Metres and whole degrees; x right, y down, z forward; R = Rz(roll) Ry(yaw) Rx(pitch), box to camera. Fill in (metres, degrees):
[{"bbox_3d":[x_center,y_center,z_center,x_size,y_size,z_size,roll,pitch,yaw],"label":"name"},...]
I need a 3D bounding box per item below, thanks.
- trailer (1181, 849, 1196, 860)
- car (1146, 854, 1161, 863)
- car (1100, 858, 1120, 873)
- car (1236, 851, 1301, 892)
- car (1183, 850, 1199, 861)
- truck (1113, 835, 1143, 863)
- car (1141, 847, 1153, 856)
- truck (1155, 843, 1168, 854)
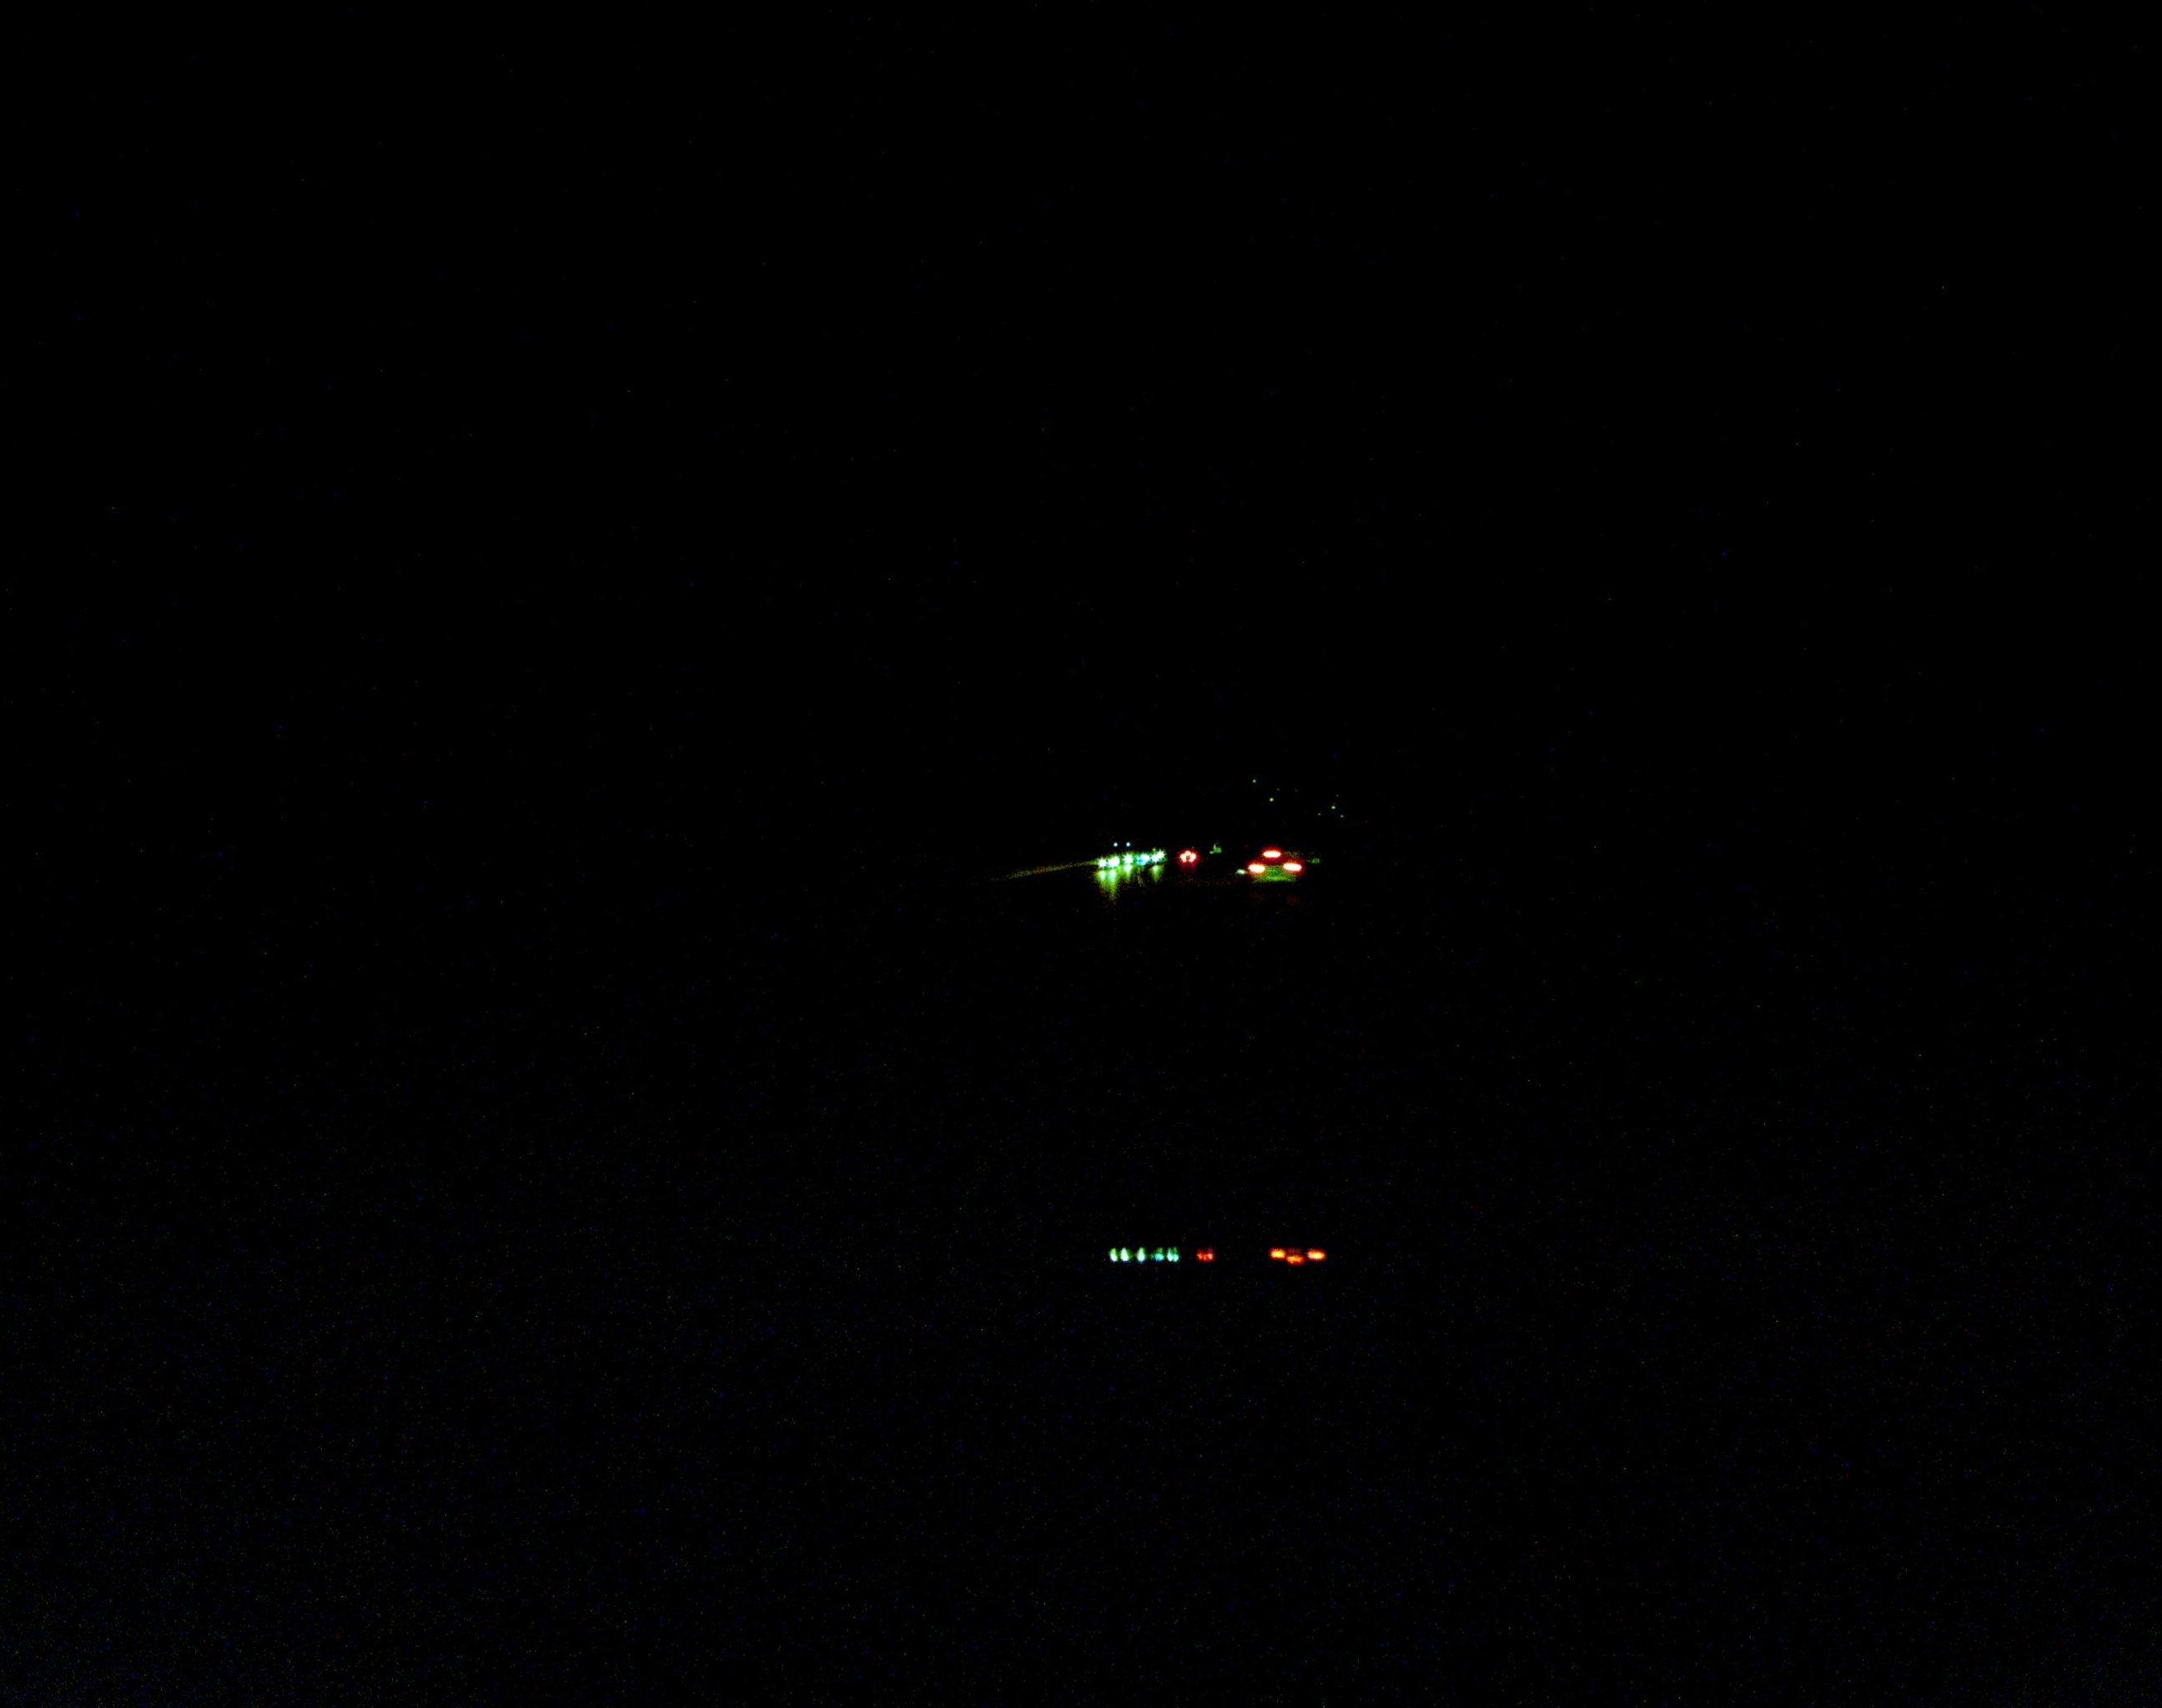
[{"bbox_3d":[16.631,0.106,117.149,2.016,1.630,3.420,-1,1,13],"label":"trailer"},{"bbox_3d":[12.293,0.792,128.868,1.810,1.508,3.940,-1,-1,15],"label":"car"},{"bbox_3d":[3.180,1.244,81.981,1.811,1.508,3.938,-1,-1,7],"label":"car"},{"bbox_3d":[7.343,0.631,30.094,1.688,1.450,4.200,-1,0,2],"label":"car"},{"bbox_3d":[17.540,0.160,121.225,2.016,1.630,4.866,-1,1,13],"label":"car"},{"bbox_3d":[7.992,-0.996,126.048,2.969,4.250,17.154,-1,1,10],"label":"truck"},{"bbox_3d":[13.020,-0.490,150.028,1.689,1.619,4.727,-1,-1,12],"label":"car"},{"bbox_3d":[18.567,-1.215,174.665,2.425,2.410,7.096,-1,0,9],"label":"truck"}]
